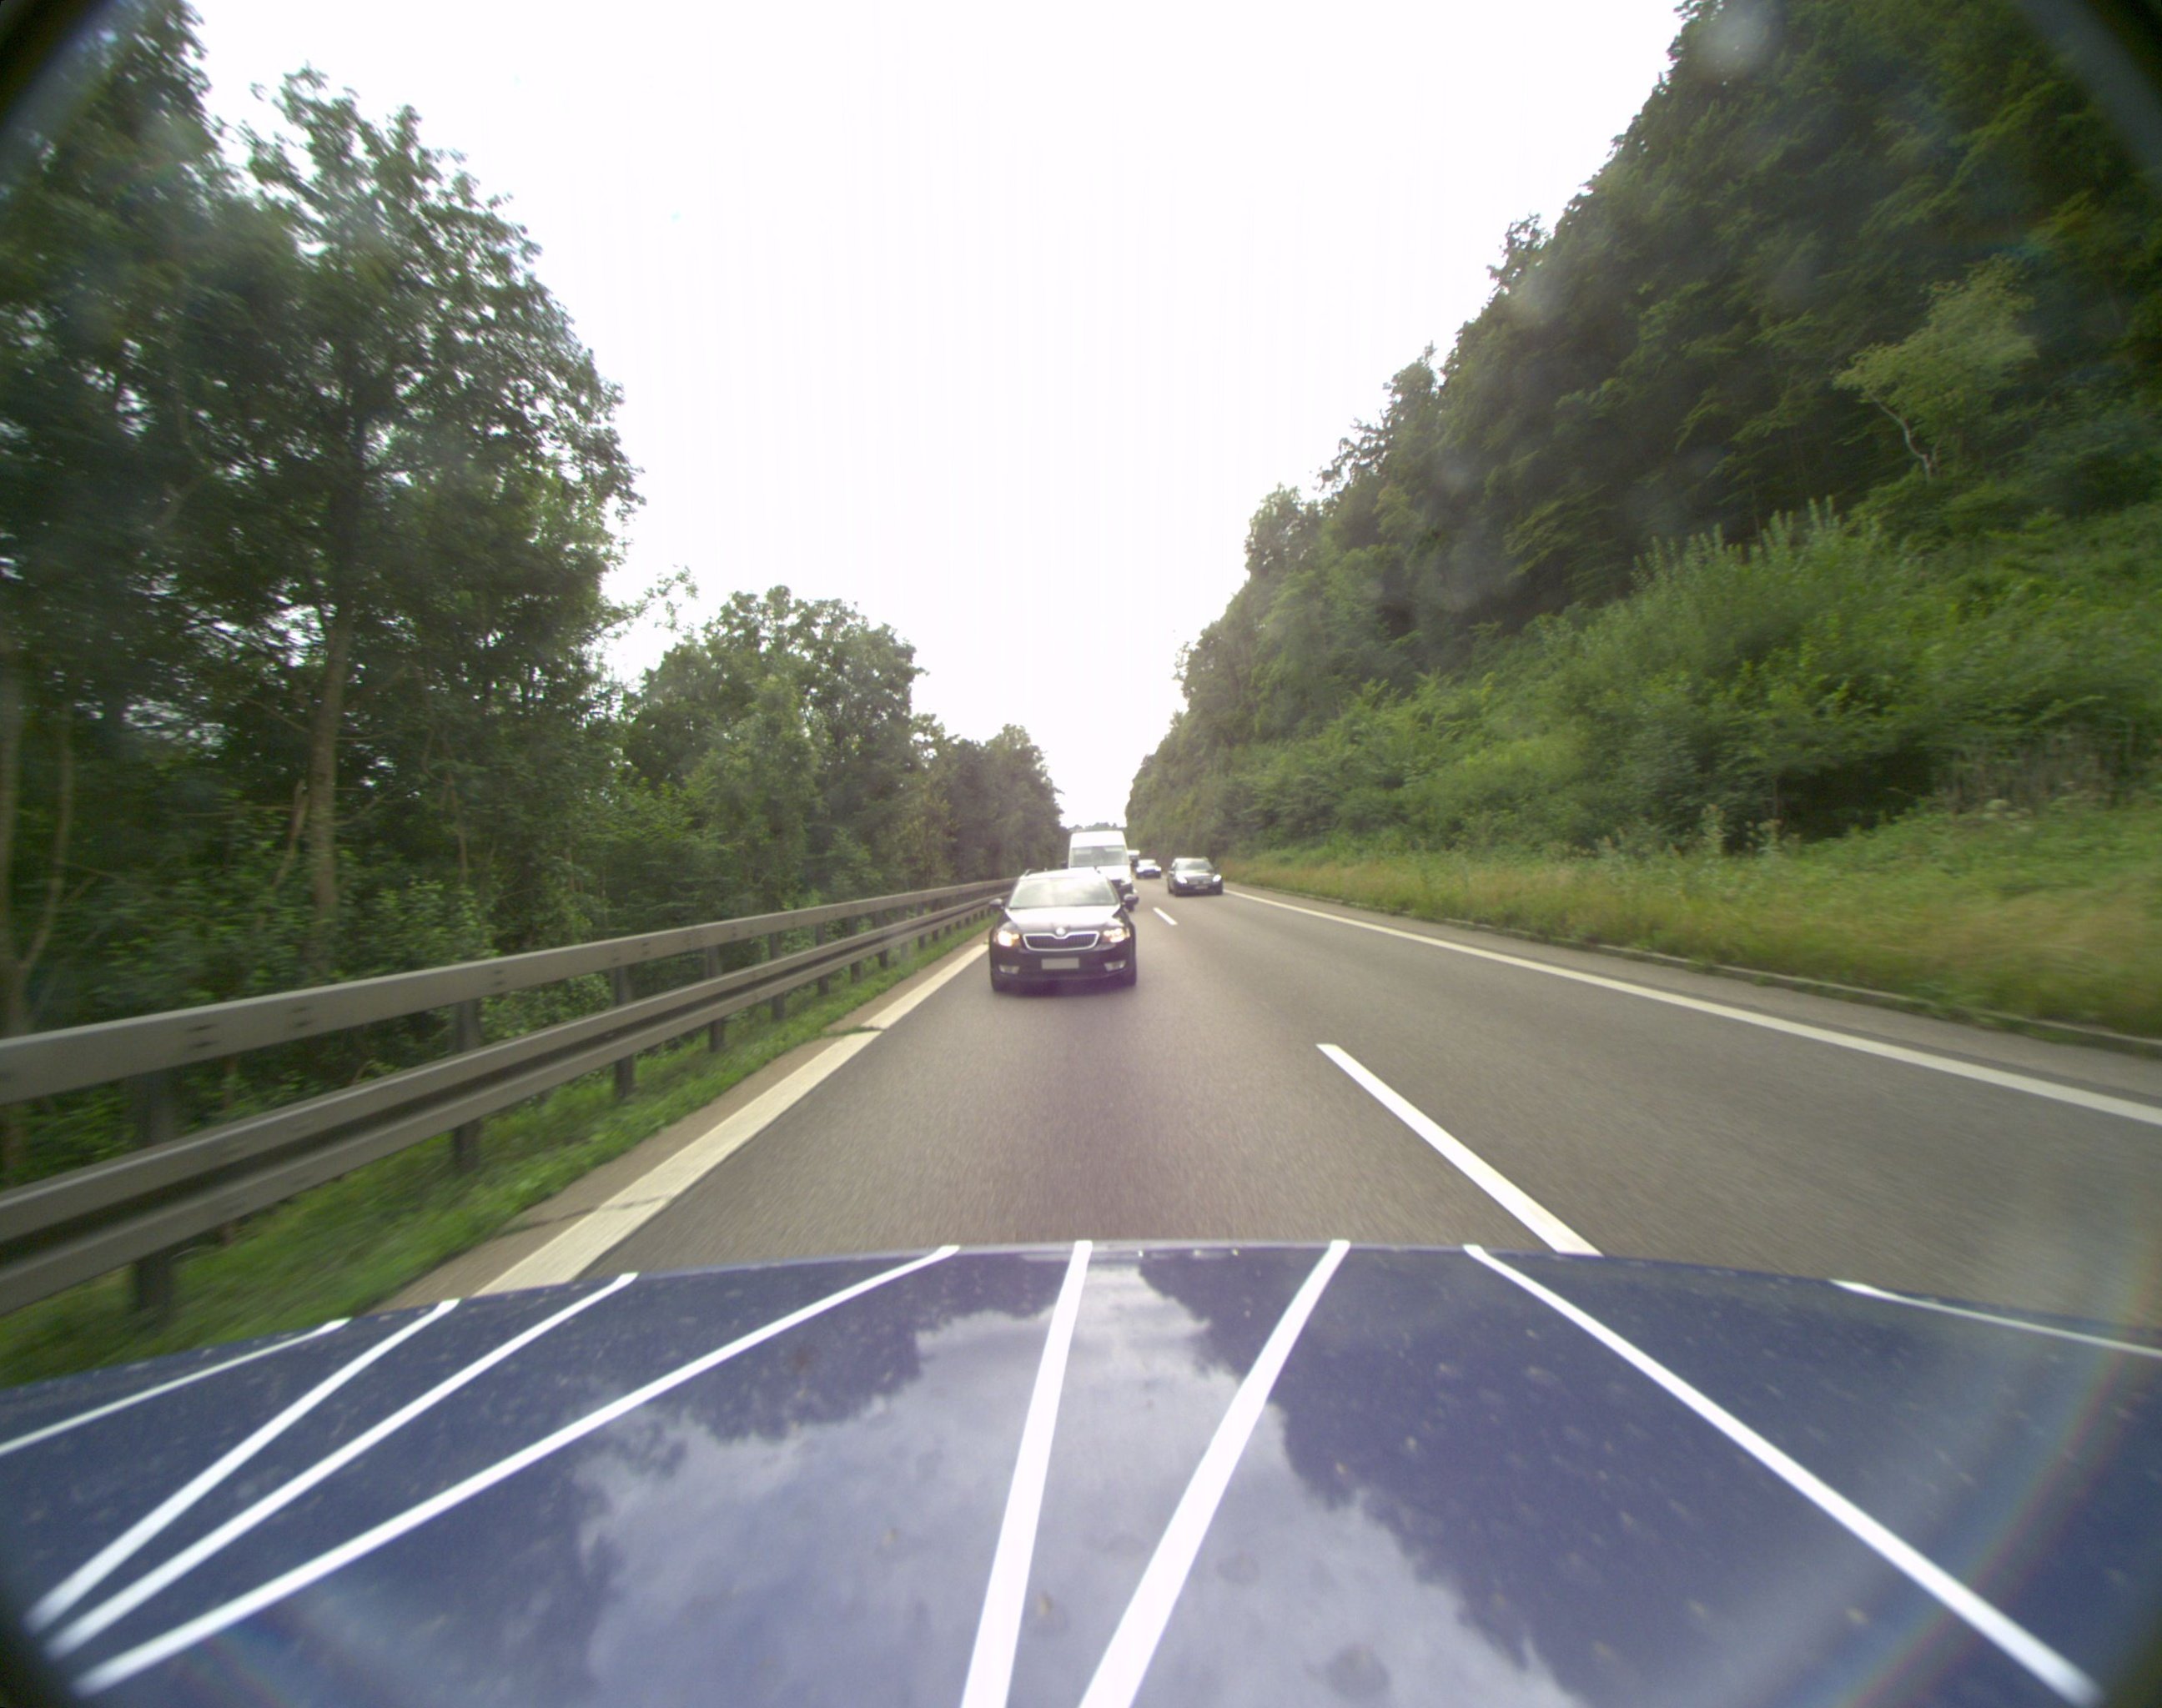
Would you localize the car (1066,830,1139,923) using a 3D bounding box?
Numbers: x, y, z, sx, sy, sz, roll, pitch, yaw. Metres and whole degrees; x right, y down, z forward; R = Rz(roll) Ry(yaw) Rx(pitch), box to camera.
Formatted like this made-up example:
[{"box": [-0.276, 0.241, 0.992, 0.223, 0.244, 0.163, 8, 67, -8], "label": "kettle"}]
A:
[{"box": [0.630, 0.643, 23.561, 2.001, 2.545, 5.128, -1, 0, 1], "label": "car"}]

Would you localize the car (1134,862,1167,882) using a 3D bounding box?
[{"box": [5.348, 1.379, 59.039, 1.841, 1.460, 4.554, -1, 0, -3], "label": "car"}]

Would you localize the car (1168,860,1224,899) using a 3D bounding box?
[{"box": [4.628, 1.009, 31.267, 1.764, 1.454, 5.124, -1, -1, 3], "label": "car"}]

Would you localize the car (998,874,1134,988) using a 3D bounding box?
[{"box": [-0.226, 1.061, 12.053, 1.751, 1.409, 4.401, -1, -1, -1], "label": "car"}]

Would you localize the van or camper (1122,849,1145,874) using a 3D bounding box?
[{"box": [6.021, 0.897, 87.450, 2.270, 2.718, 7.025, 0, -1, 1], "label": "van or camper"}]
